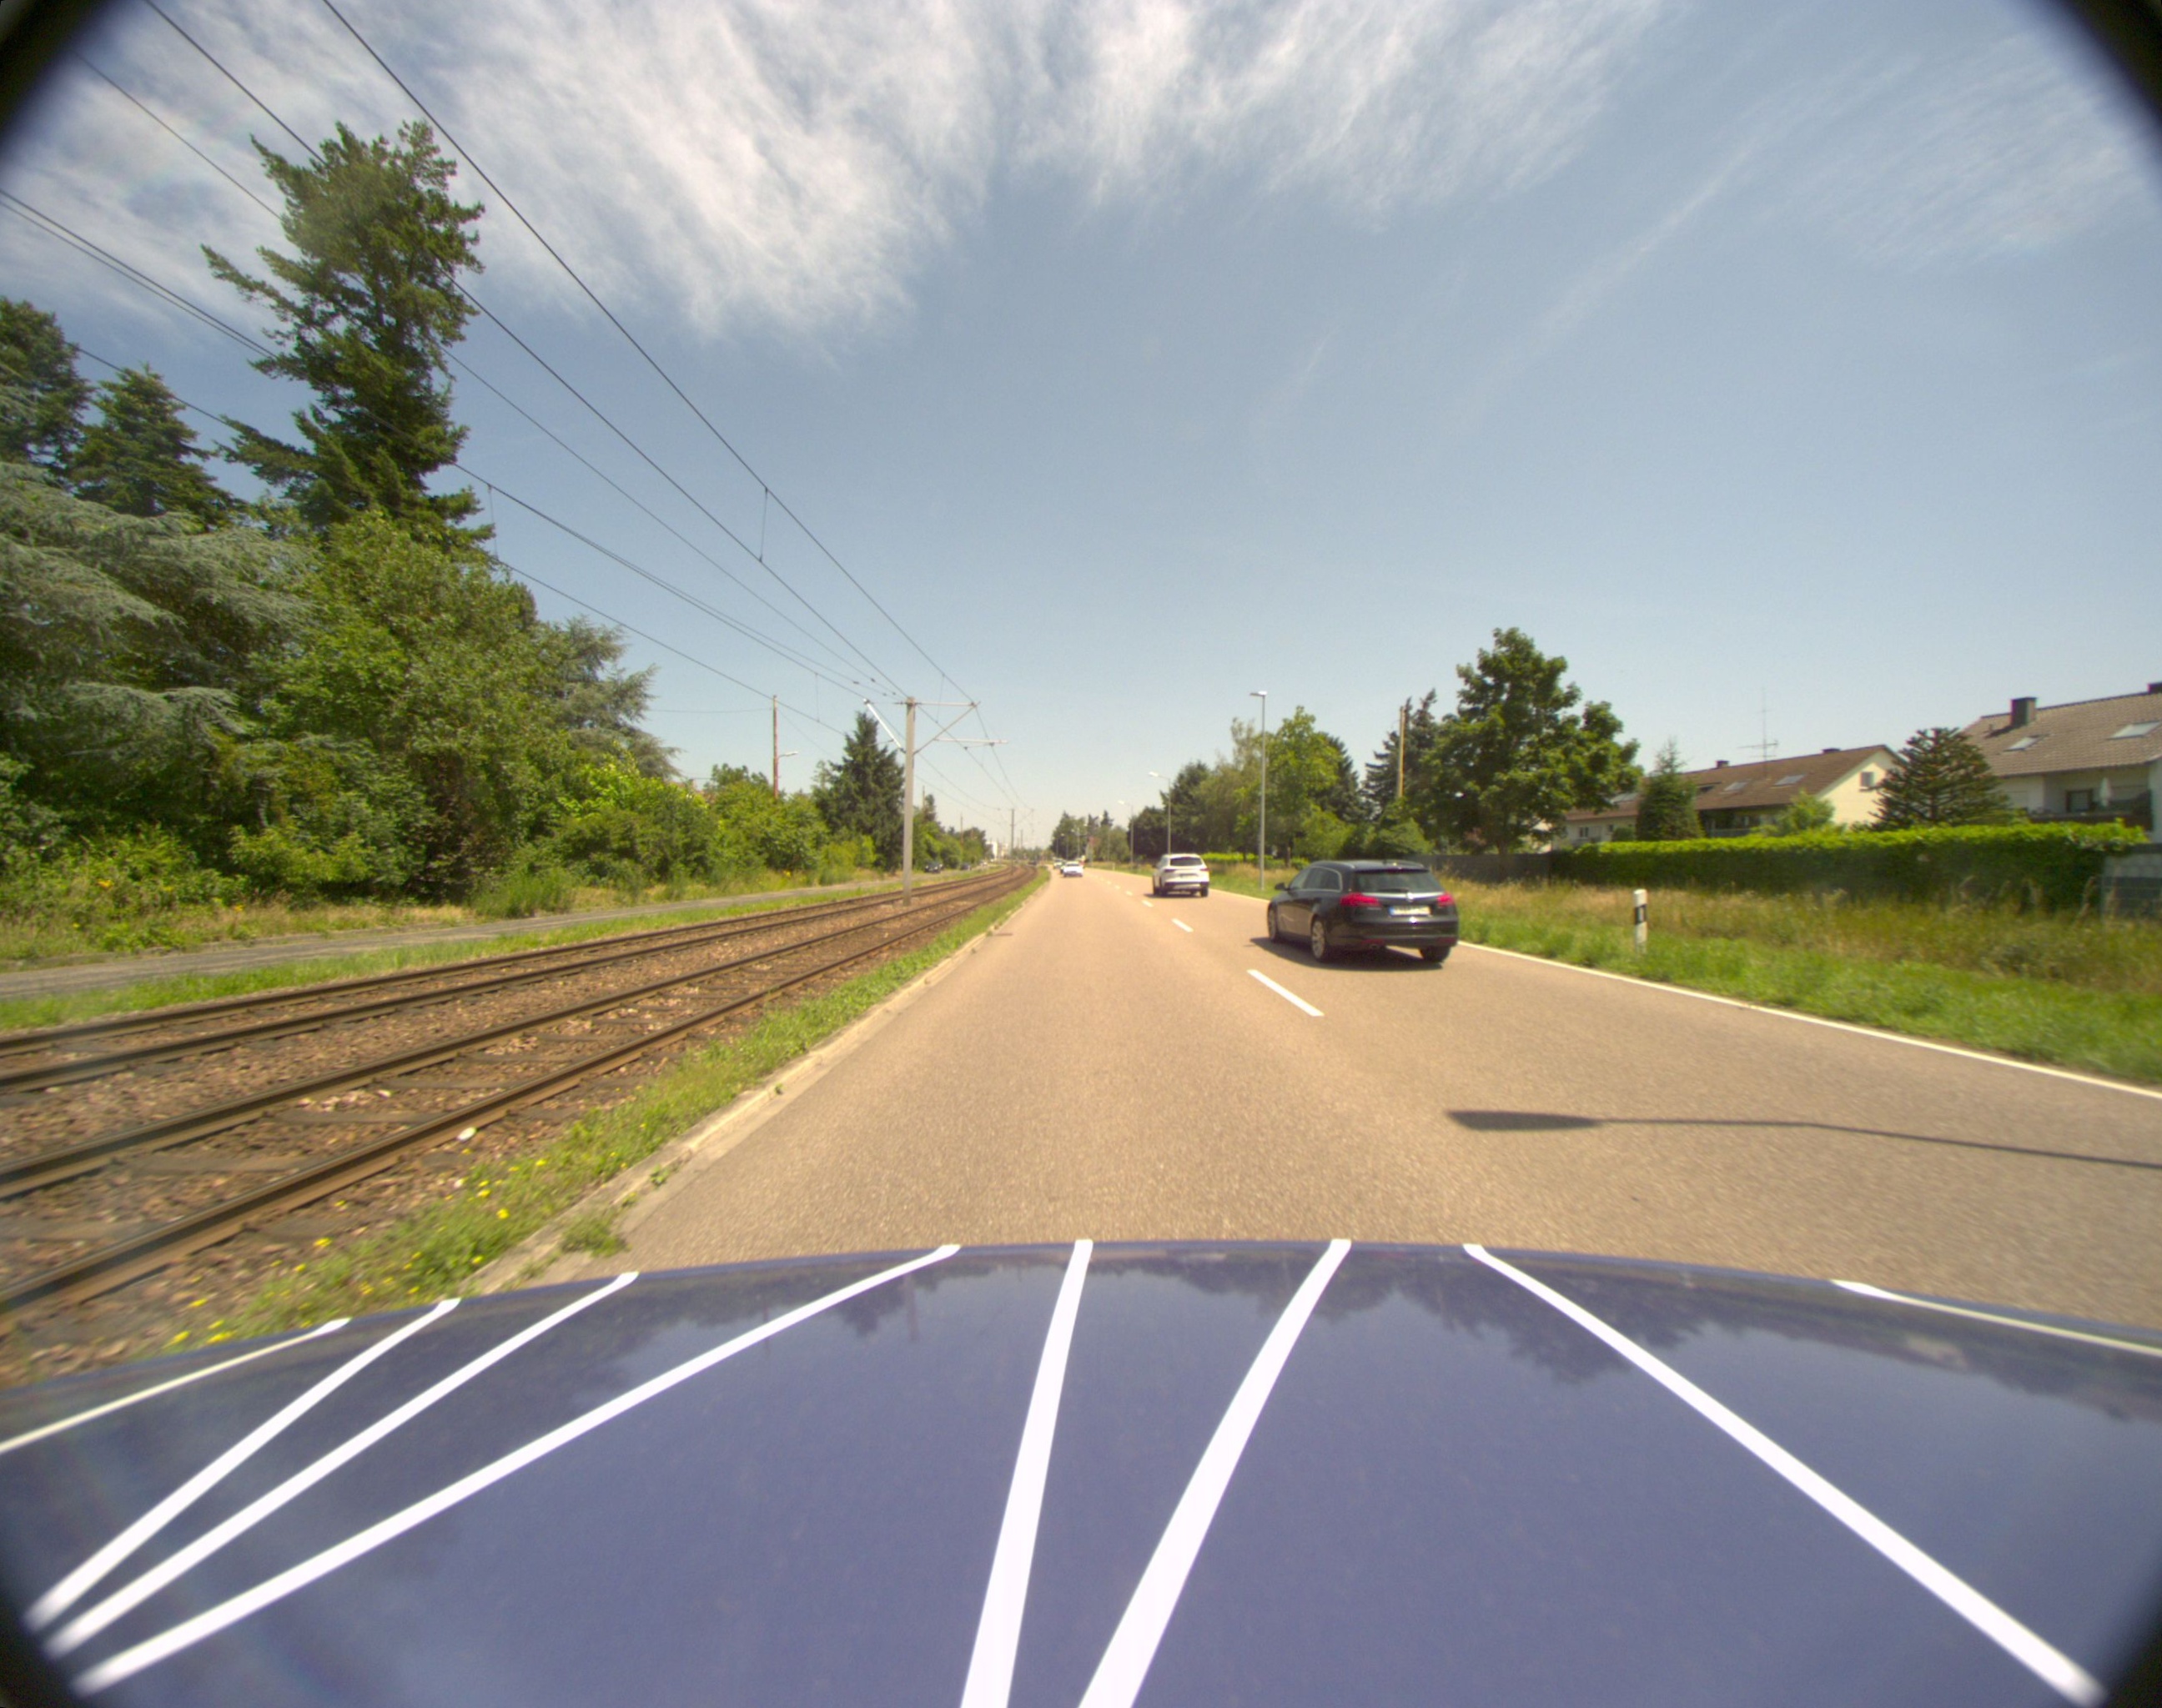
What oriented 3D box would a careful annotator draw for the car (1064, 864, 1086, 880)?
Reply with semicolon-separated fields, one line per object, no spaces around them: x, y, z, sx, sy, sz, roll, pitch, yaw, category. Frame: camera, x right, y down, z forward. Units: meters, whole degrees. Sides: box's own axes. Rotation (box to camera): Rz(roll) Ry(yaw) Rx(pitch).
-0.607;1.687;73.194;1.955;1.467;4.360;0;0;-4;car

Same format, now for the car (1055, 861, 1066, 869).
-3.695;1.995;137.116;1.892;1.455;3.999;0;0;-4;car

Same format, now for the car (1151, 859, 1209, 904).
4.112;1.100;32.261;1.844;1.749;4.932;0;0;0;car

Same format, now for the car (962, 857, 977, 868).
-18.243;1.426;124.287;1.946;1.685;3.999;-2;0;-3;car

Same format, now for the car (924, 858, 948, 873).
-17.643;1.386;92.457;1.998;1.710;4.000;-2;0;0;car

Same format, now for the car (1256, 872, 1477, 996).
4.196;1.078;12.108;1.740;1.487;4.829;0;0;0;car
